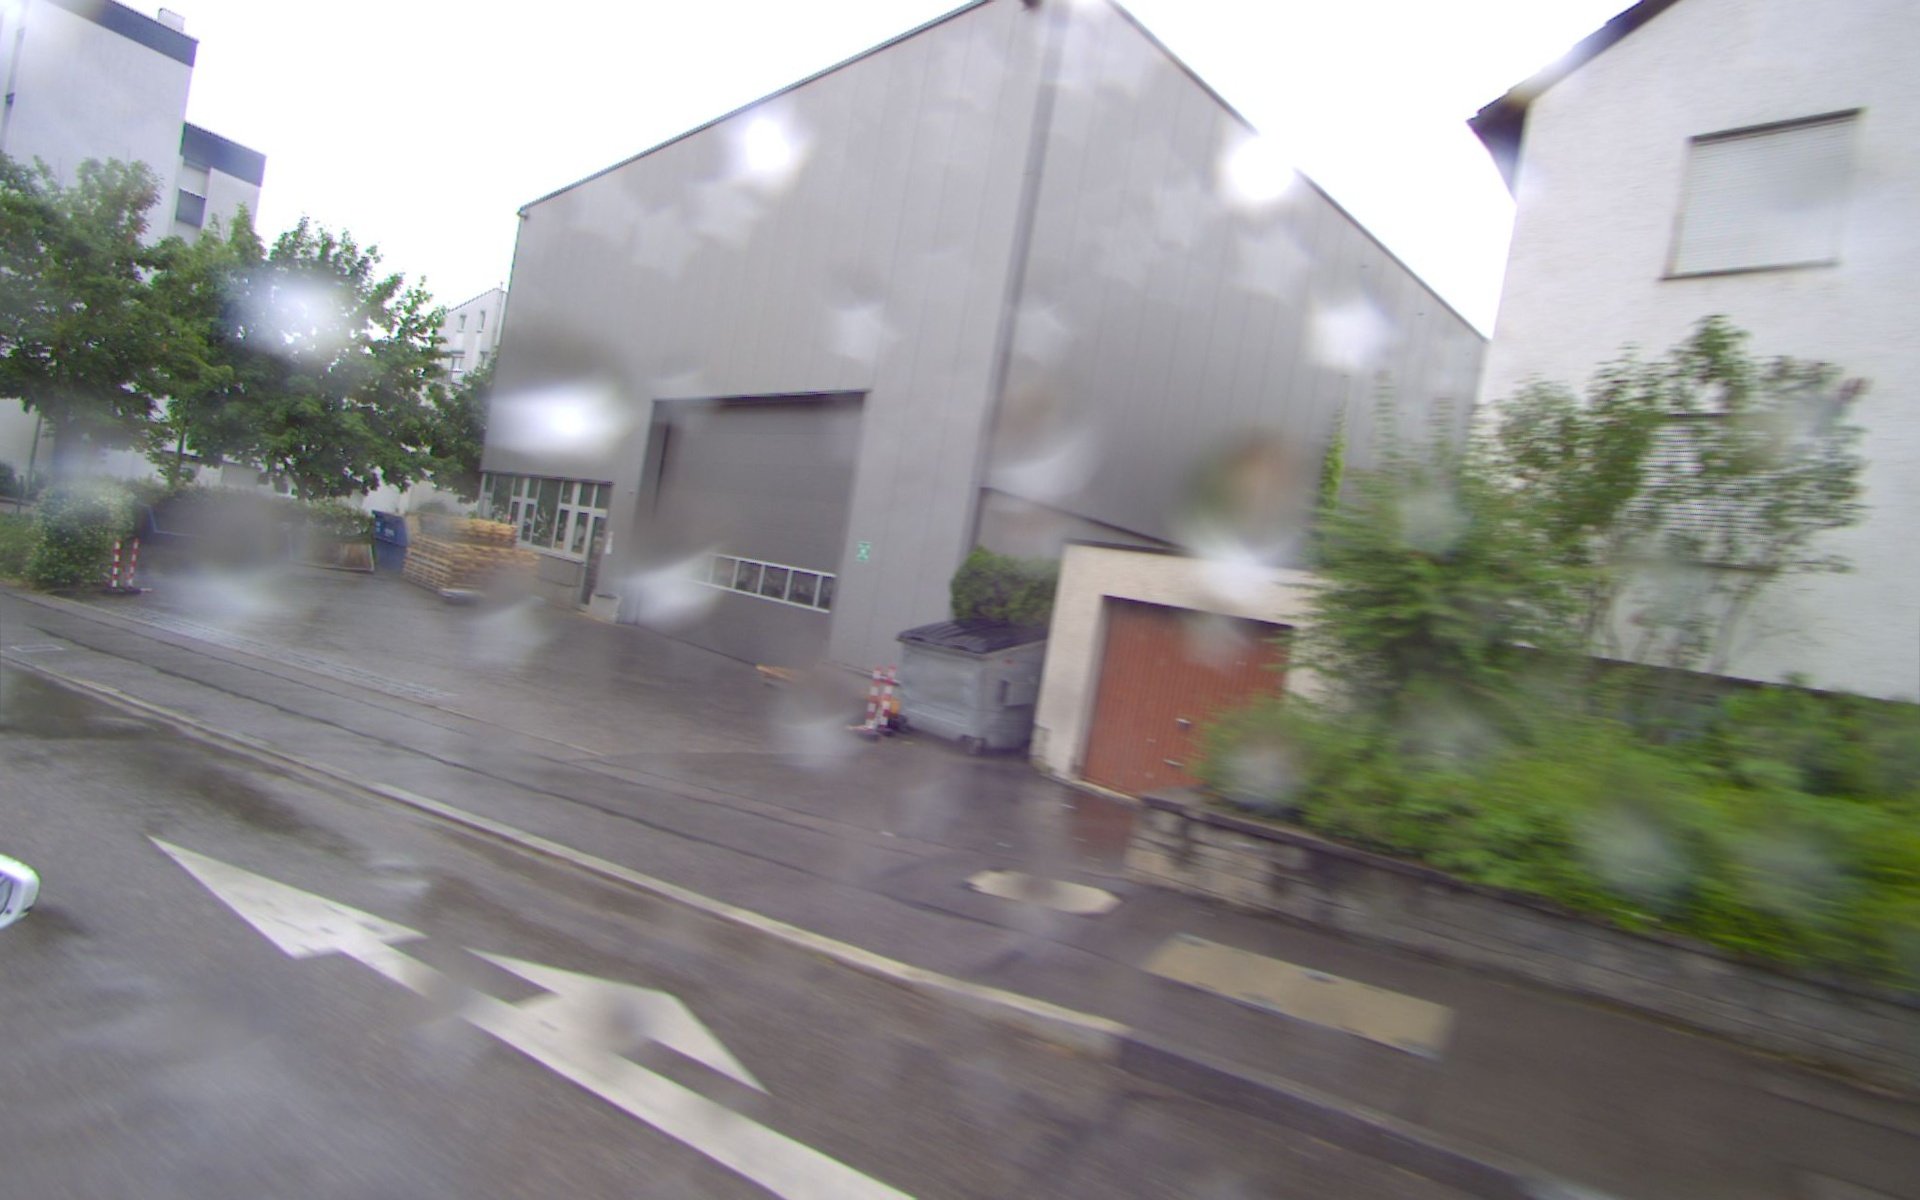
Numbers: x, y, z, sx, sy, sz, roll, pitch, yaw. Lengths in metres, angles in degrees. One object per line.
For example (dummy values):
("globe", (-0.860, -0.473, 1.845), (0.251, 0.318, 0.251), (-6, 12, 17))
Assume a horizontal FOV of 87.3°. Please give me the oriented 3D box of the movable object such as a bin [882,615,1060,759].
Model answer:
("movable object such as a bin", (0.123, 1.087, 12.847), (1.258, 1.537, 1.757), (6, 1, -43))
